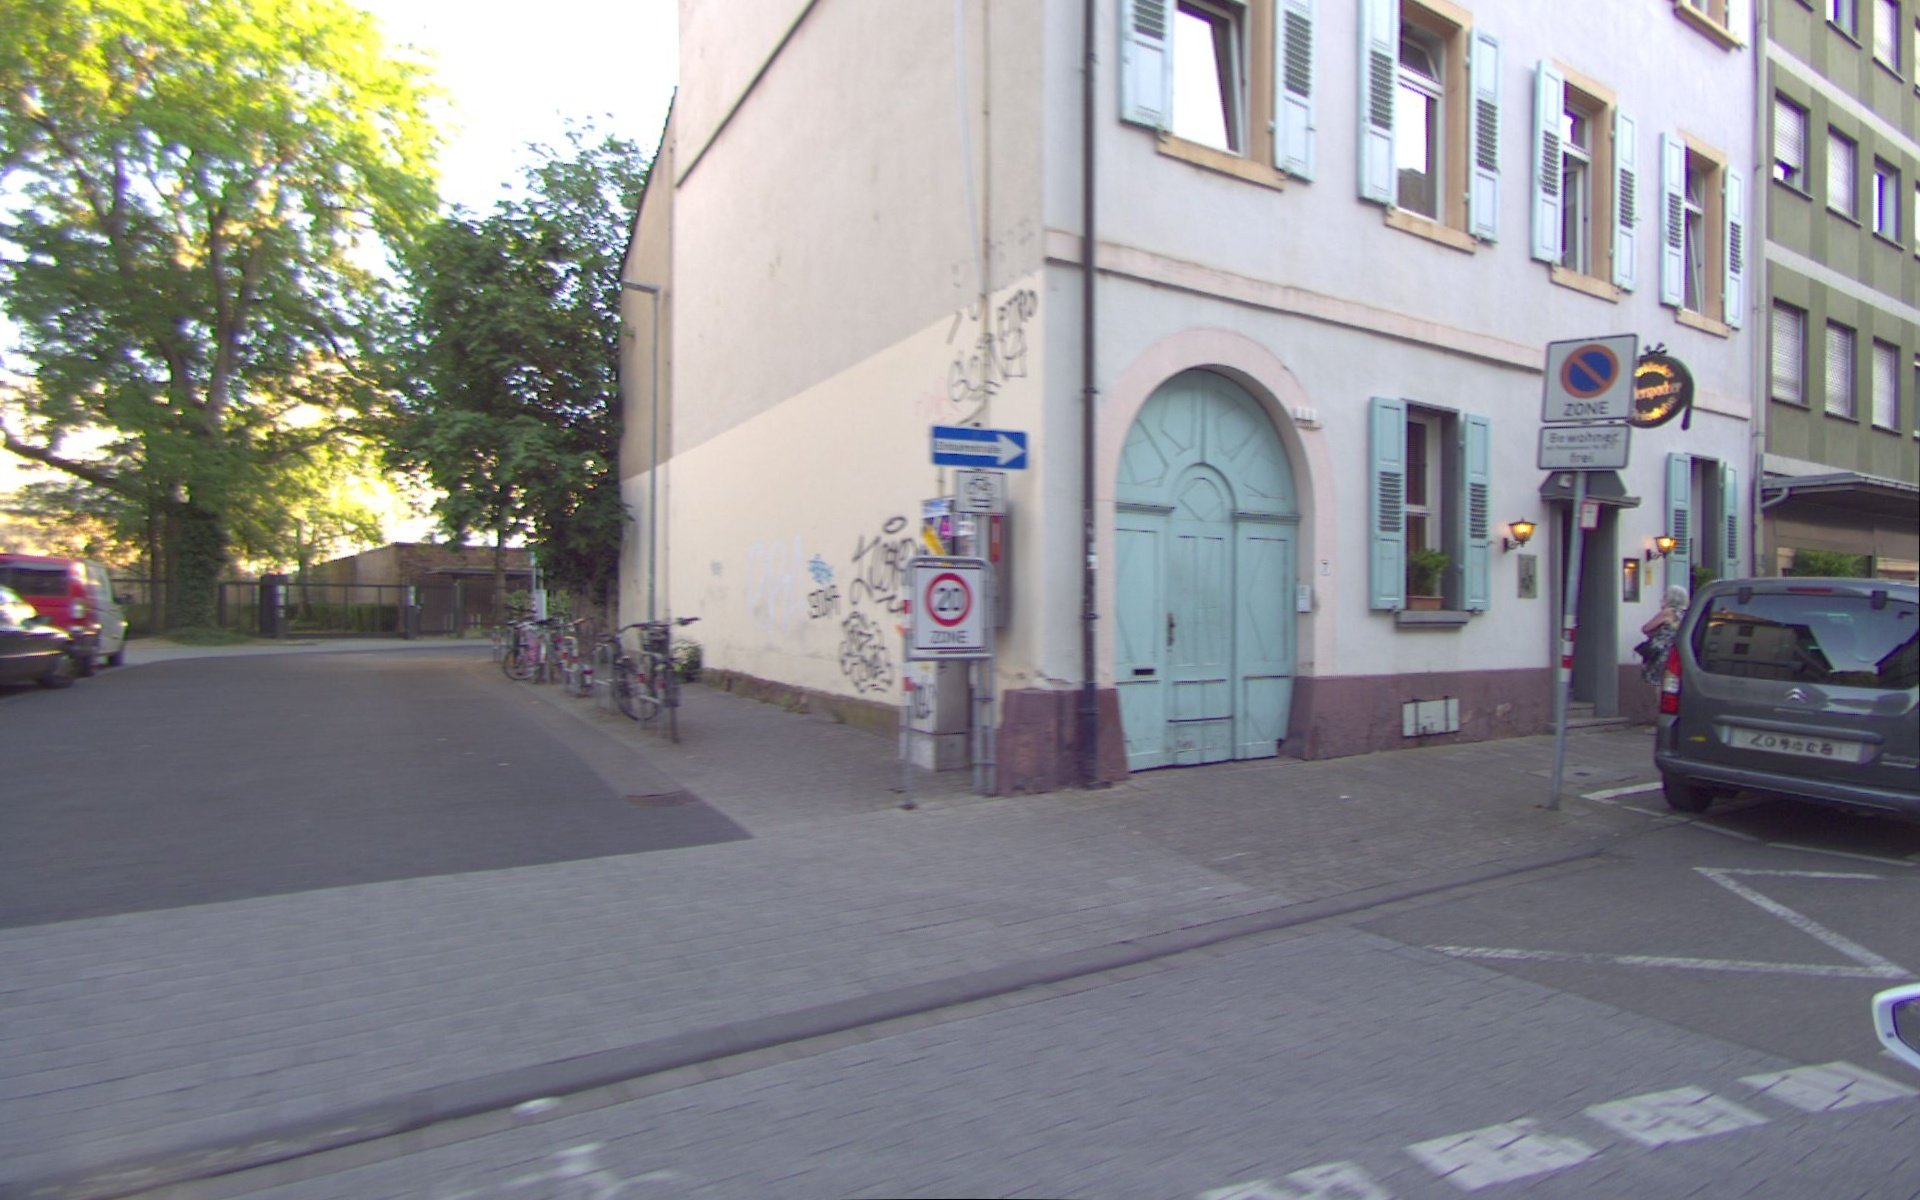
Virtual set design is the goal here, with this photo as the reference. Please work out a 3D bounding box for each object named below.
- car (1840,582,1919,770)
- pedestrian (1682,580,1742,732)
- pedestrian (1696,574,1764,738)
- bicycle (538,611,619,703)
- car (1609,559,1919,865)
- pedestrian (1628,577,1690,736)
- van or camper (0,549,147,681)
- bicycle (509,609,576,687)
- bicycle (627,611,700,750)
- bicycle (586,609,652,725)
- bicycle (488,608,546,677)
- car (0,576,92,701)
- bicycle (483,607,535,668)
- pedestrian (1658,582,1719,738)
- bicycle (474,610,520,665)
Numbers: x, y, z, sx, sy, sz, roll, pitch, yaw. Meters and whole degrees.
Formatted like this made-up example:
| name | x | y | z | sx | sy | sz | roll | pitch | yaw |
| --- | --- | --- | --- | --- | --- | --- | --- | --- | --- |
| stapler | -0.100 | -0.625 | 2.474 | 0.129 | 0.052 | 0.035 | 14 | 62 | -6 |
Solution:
| name | x | y | z | sx | sy | sz | roll | pitch | yaw |
| --- | --- | --- | --- | --- | --- | --- | --- | --- | --- |
| car | 11.372 | 0.768 | 10.755 | 4.461 | 1.835 | 1.762 | 1 | 0 | -33 |
| pedestrian | 8.996 | 0.652 | 12.017 | 0.464 | 1.773 | 0.404 | 1 | 0 | -30 |
| pedestrian | 8.561 | 0.613 | 11.173 | 0.464 | 1.773 | 0.447 | 1 | 0 | -30 |
| bicycle | -5.362 | 0.760 | 14.046 | 0.621 | 1.171 | 1.914 | 1 | 0 | -34 |
| car | 7.155 | 0.691 | 7.918 | 4.405 | 1.835 | 1.865 | 1 | 0 | -34 |
| pedestrian | 8.007 | 0.635 | 11.505 | 0.464 | 1.773 | 0.404 | 1 | 0 | -30 |
| van or camper | -15.222 | 0.206 | 16.842 | 1.916 | 1.934 | 4.666 | 3 | -1 | -33 |
| bicycle | -6.825 | 0.753 | 16.355 | 0.621 | 1.171 | 1.914 | 1 | 0 | -34 |
| bicycle | -2.955 | 0.738 | 10.052 | 0.617 | 1.233 | 1.926 | 1 | 0 | -16 |
| bicycle | -4.042 | 0.734 | 11.842 | 0.618 | 1.233 | 1.922 | 1 | 0 | -22 |
| bicycle | -8.095 | 0.747 | 18.318 | 0.621 | 1.171 | 1.914 | 1 | 0 | -35 |
| car | -12.367 | 0.412 | 12.163 | 1.706 | 1.459 | 4.239 | 3 | -1 | -26 |
| bicycle | -9.250 | 0.744 | 20.567 | 0.621 | 1.171 | 1.914 | 1 | 0 | -34 |
| pedestrian | 8.509 | 0.685 | 11.735 | 0.464 | 1.773 | 0.404 | 1 | 0 | -30 |
| bicycle | -10.508 | 0.833 | 22.772 | 0.621 | 1.171 | 1.914 | 1 | 0 | -34 |
